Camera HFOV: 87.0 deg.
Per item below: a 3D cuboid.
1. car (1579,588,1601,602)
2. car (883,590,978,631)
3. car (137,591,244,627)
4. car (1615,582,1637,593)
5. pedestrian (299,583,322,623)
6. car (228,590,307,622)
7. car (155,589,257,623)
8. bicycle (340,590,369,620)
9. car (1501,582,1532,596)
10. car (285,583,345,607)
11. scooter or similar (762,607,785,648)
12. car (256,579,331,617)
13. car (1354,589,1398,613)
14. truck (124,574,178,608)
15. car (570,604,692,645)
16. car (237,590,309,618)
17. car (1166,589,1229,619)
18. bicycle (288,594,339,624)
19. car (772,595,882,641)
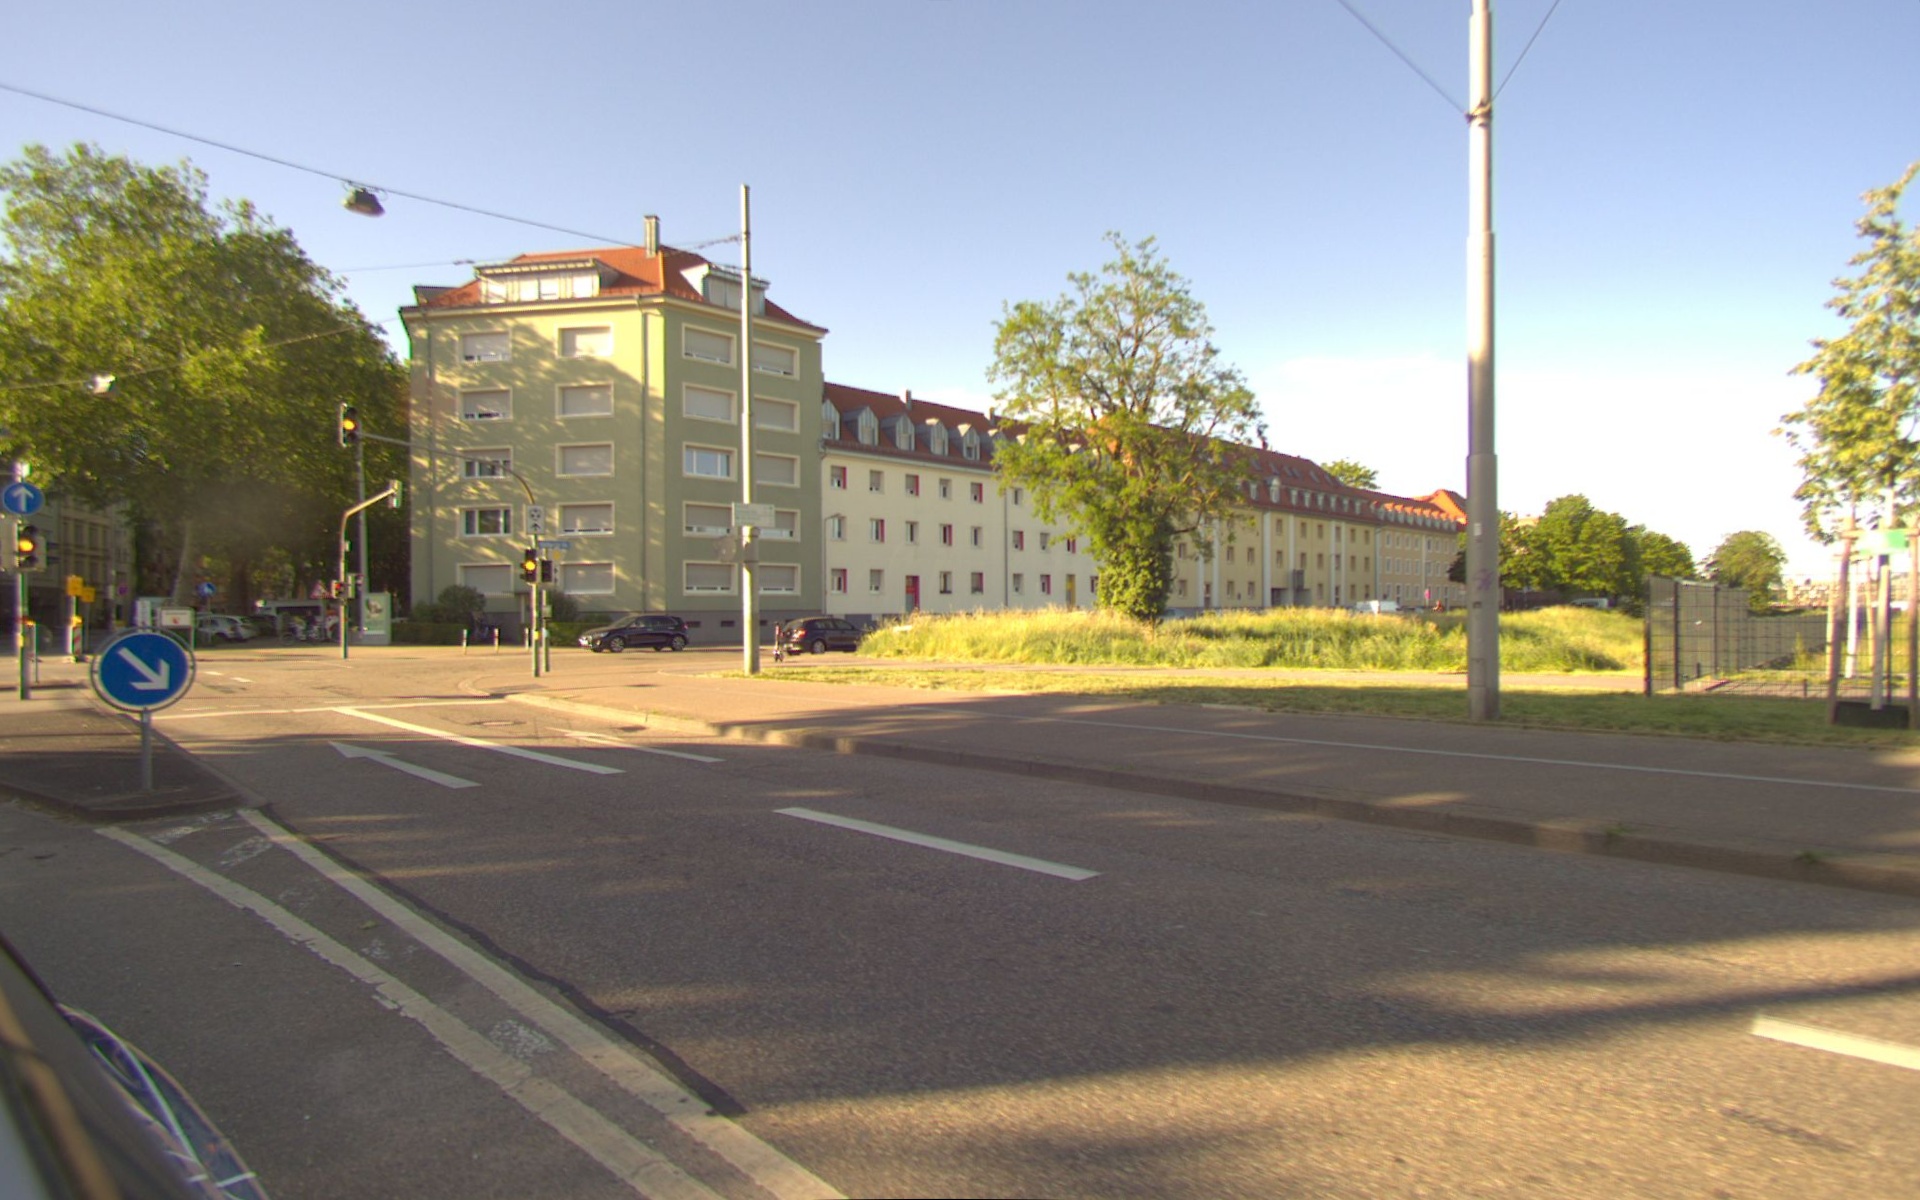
[{"bbox_3d":[79.145,-0.621,127.080,1.700,1.542,3.848,-6,-4,41],"label":"car"},{"bbox_3d":[-1.172,0.424,41.907,1.700,1.542,3.848,-6,-4,41],"label":"car"},{"bbox_3d":[-39.975,0.456,52.668,4.078,1.652,1.781,-2,2,-24],"label":"car"},{"bbox_3d":[102.226,-1.941,155.349,4.145,1.505,1.943,0,-2,-45],"label":"car"},{"bbox_3d":[-33.121,0.142,51.601,0.685,1.978,0.930,-2,2,-16],"label":"pedestrian"},{"bbox_3d":[-44.870,0.366,65.676,3.932,1.851,1.822,-2,2,-24],"label":"car"},{"bbox_3d":[-40.758,0.308,54.842,4.078,1.652,1.781,-2,2,-24],"label":"car"},{"bbox_3d":[-29.750,0.216,49.713,0.763,1.390,2.054,0,2,-45],"label":"bicycle"},{"bbox_3d":[62.748,-1.253,114.076,4.145,1.505,1.943,0,-2,-45],"label":"car"},{"bbox_3d":[-53.486,-0.412,83.957,3.932,1.851,1.822,-2,2,-24],"label":"car"},{"bbox_3d":[-5.549,0.839,30.146,0.586,1.153,1.268,-1,-5,-5],"label":"scooter or similar"},{"bbox_3d":[-49.711,-0.192,75.545,4.345,2.646,1.976,-2,2,-24],"label":"car"},{"bbox_3d":[30.508,0.070,74.153,1.700,1.542,3.848,-6,-4,41],"label":"car"},{"bbox_3d":[-77.058,-0.907,96.518,2.304,2.994,8.059,-2,2,-27],"label":"truck"},{"bbox_3d":[-12.898,0.955,39.835,4.145,1.505,1.943,0,-2,-45],"label":"car"},{"bbox_3d":[-49.284,0.259,72.658,3.932,1.851,1.822,-2,2,-24],"label":"car"},{"bbox_3d":[13.305,0.224,56.584,1.700,1.542,3.848,-6,-4,41],"label":"car"},{"bbox_3d":[-32.265,0.450,50.547,2.018,1.472,0.728,1,1,-17],"label":"bicycle"},{"bbox_3d":[-4.908,0.644,37.736,1.700,1.542,3.848,-6,-4,41],"label":"car"}]
